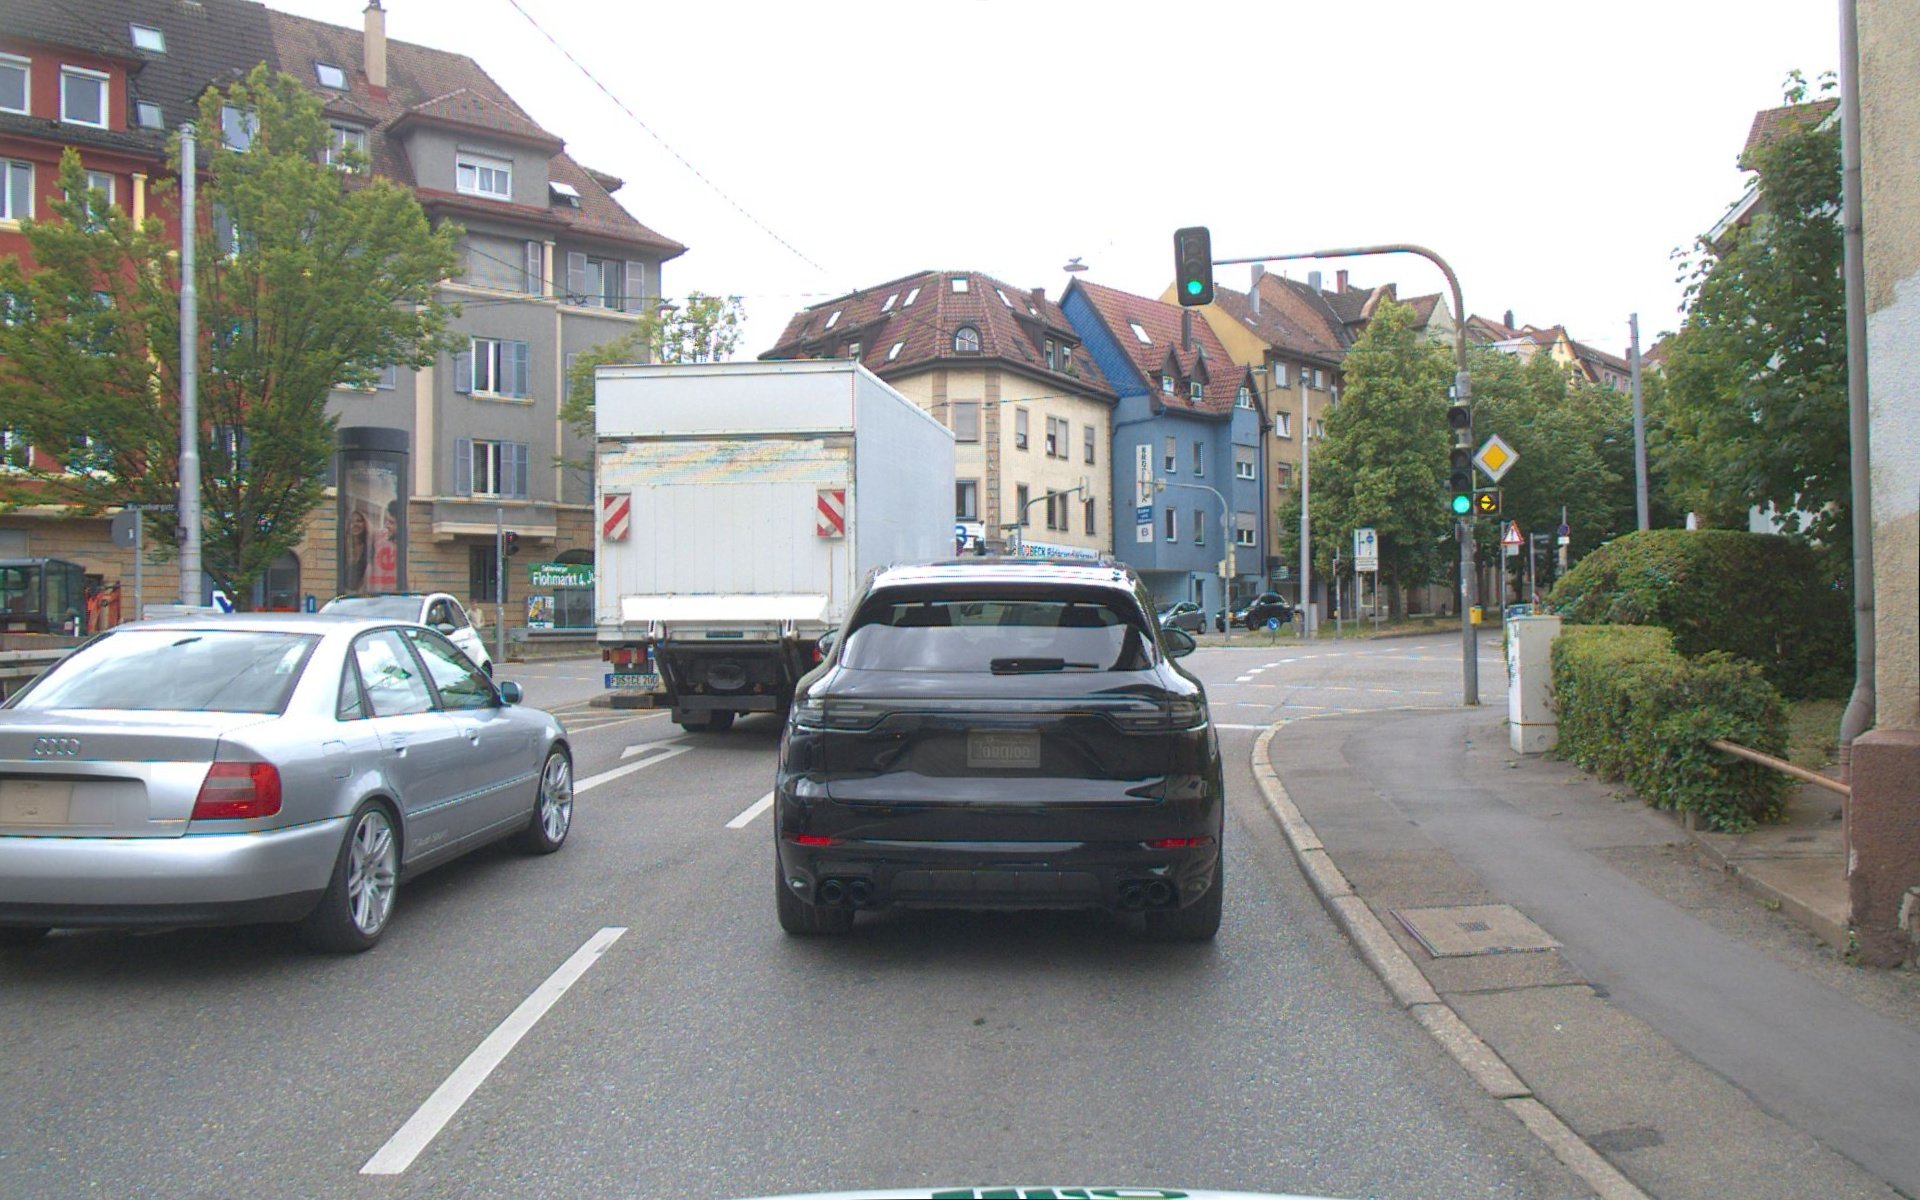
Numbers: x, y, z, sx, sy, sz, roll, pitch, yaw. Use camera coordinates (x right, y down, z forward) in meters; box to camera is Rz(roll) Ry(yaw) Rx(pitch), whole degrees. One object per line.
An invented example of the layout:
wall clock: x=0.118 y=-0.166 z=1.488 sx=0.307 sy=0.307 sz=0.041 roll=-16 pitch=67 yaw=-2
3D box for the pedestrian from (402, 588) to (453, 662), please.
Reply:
pedestrian: x=-11.594 y=0.531 z=36.014 sx=0.777 sy=1.573 sz=0.737 roll=0 pitch=0 yaw=27

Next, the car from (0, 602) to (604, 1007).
car: x=-3.095 y=0.732 z=7.914 sx=1.594 sy=1.389 sz=4.130 roll=-1 pitch=0 yaw=4

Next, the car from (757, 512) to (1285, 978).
car: x=0.205 y=0.529 z=8.562 sx=1.990 sy=1.753 sz=4.499 roll=1 pitch=1 yaw=-1

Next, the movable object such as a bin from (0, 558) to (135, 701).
movable object such as a bin: x=-13.949 y=0.421 z=25.488 sx=1.351 sy=2.049 sz=3.525 roll=-1 pitch=0 yaw=-12

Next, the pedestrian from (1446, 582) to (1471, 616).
pedestrian: x=30.272 y=-0.081 z=100.339 sx=1.173 sy=2.049 sz=0.984 roll=0 pitch=0 yaw=39

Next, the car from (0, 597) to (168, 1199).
car: x=-2.699 y=0.730 z=1.217 sx=1.953 sy=1.454 sz=4.841 roll=0 pitch=0 yaw=-1

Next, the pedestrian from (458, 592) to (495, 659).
pedestrian: x=-10.949 y=0.572 z=37.484 sx=0.511 sy=1.513 sz=0.654 roll=0 pitch=0 yaw=19

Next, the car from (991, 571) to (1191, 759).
car: x=1.367 y=0.561 z=16.000 sx=1.613 sy=1.583 sz=3.586 roll=1 pitch=0 yaw=9

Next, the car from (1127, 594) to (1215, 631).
car: x=9.120 y=0.543 z=71.227 sx=1.691 sy=1.502 sz=4.194 roll=-2 pitch=-2 yaw=41

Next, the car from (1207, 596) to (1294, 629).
car: x=13.473 y=0.612 z=76.587 sx=1.842 sy=1.441 sz=4.671 roll=-2 pitch=-2 yaw=41

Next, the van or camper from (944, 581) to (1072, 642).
van or camper: x=1.641 y=0.382 z=58.198 sx=1.979 sy=2.049 sz=4.766 roll=1 pitch=0 yaw=-37

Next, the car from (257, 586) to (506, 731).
car: x=-6.535 y=0.616 z=19.060 sx=1.565 sy=1.472 sz=3.530 roll=-1 pitch=0 yaw=0

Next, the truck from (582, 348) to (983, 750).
truck: x=-1.568 y=-0.494 z=19.168 sx=2.667 sy=3.606 sz=8.428 roll=1 pitch=0 yaw=7
